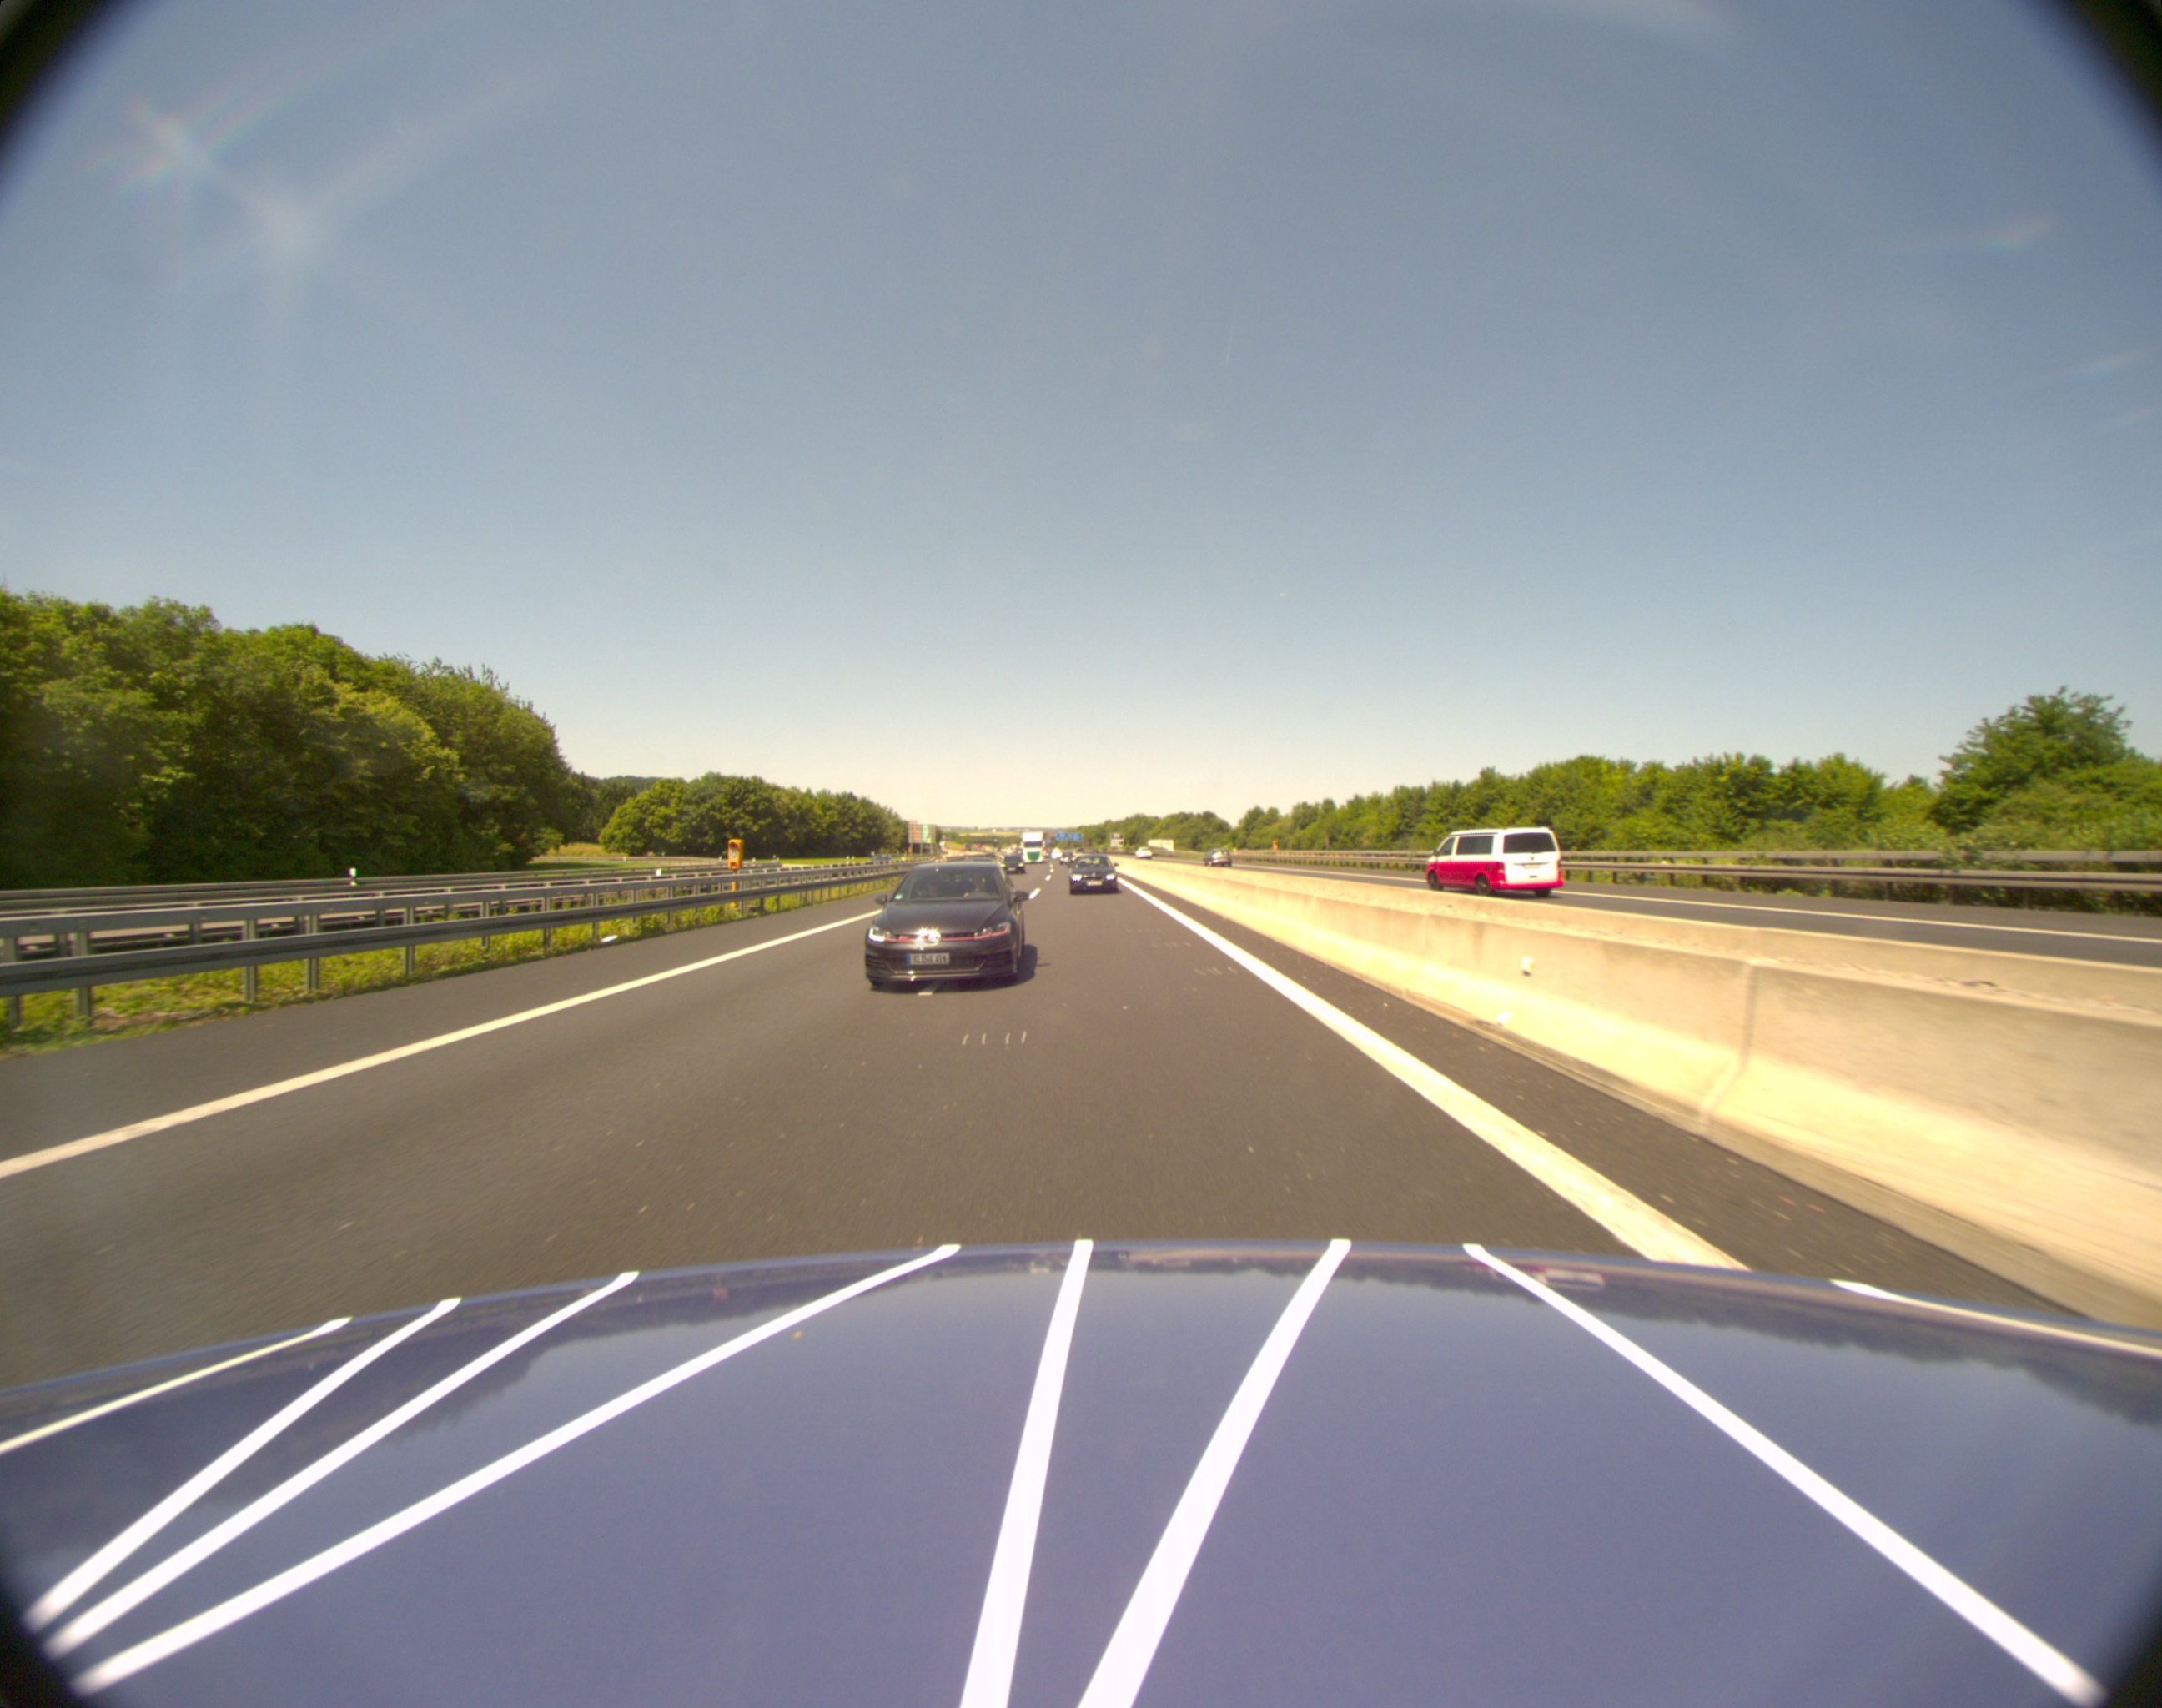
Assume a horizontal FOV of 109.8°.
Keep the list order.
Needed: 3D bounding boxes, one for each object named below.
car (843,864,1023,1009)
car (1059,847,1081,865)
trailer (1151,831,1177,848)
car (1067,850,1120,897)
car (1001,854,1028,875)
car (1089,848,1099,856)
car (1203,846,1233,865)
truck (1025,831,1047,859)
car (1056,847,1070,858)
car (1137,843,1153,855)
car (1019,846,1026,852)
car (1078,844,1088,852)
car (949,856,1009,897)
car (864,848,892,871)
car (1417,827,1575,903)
[{"bbox_3d":[-1.770,0.928,10.327,1.799,1.427,3.964,-2,1,-3],"label":"car"},{"bbox_3d":[-1.321,0.192,88.650,2.000,2.002,3.996,-1,1,-9],"label":"car"},{"bbox_3d":[19.955,-3.435,183.652,3.117,3.974,14.074,-1,1,-6],"label":"trailer"},{"bbox_3d":[0.427,0.668,28.454,1.799,1.574,3.999,-1,1,0],"label":"car"},{"bbox_3d":[-5.098,0.764,57.558,1.893,1.464,3.864,-1,1,-7],"label":"car"},{"bbox_3d":[3.258,-0.503,188.325,1.999,1.814,4.902,-1,1,-5],"label":"car"},{"bbox_3d":[11.719,0.122,65.317,1.732,1.523,4.260,-2,1,-1],"label":"car"},{"bbox_3d":[-5.960,-1.221,100.256,2.650,3.572,4.401,-1,1,-5],"label":"truck"},{"bbox_3d":[-3.133,-0.270,131.886,1.926,2.002,3.997,-1,1,-7],"label":"car"},{"bbox_3d":[9.387,-0.751,111.913,1.792,1.622,4.928,-2,1,-1],"label":"car"},{"bbox_3d":[-16.626,-1.374,215.748,2.000,1.619,3.997,-1,1,-6],"label":"car"},{"bbox_3d":[0.402,-1.368,176.862,2.041,1.847,5.371,-1,1,-4],"label":"car"},{"bbox_3d":[-3.940,0.819,29.856,1.781,1.392,3.760,-1,1,0],"label":"car"},{"bbox_3d":[-18.648,0.512,69.984,2.000,2.002,3.997,-1,1,-8],"label":"car"},{"bbox_3d":[12.331,0.236,23.093,1.998,2.002,5.379,-1,1,2],"label":"car"}]
